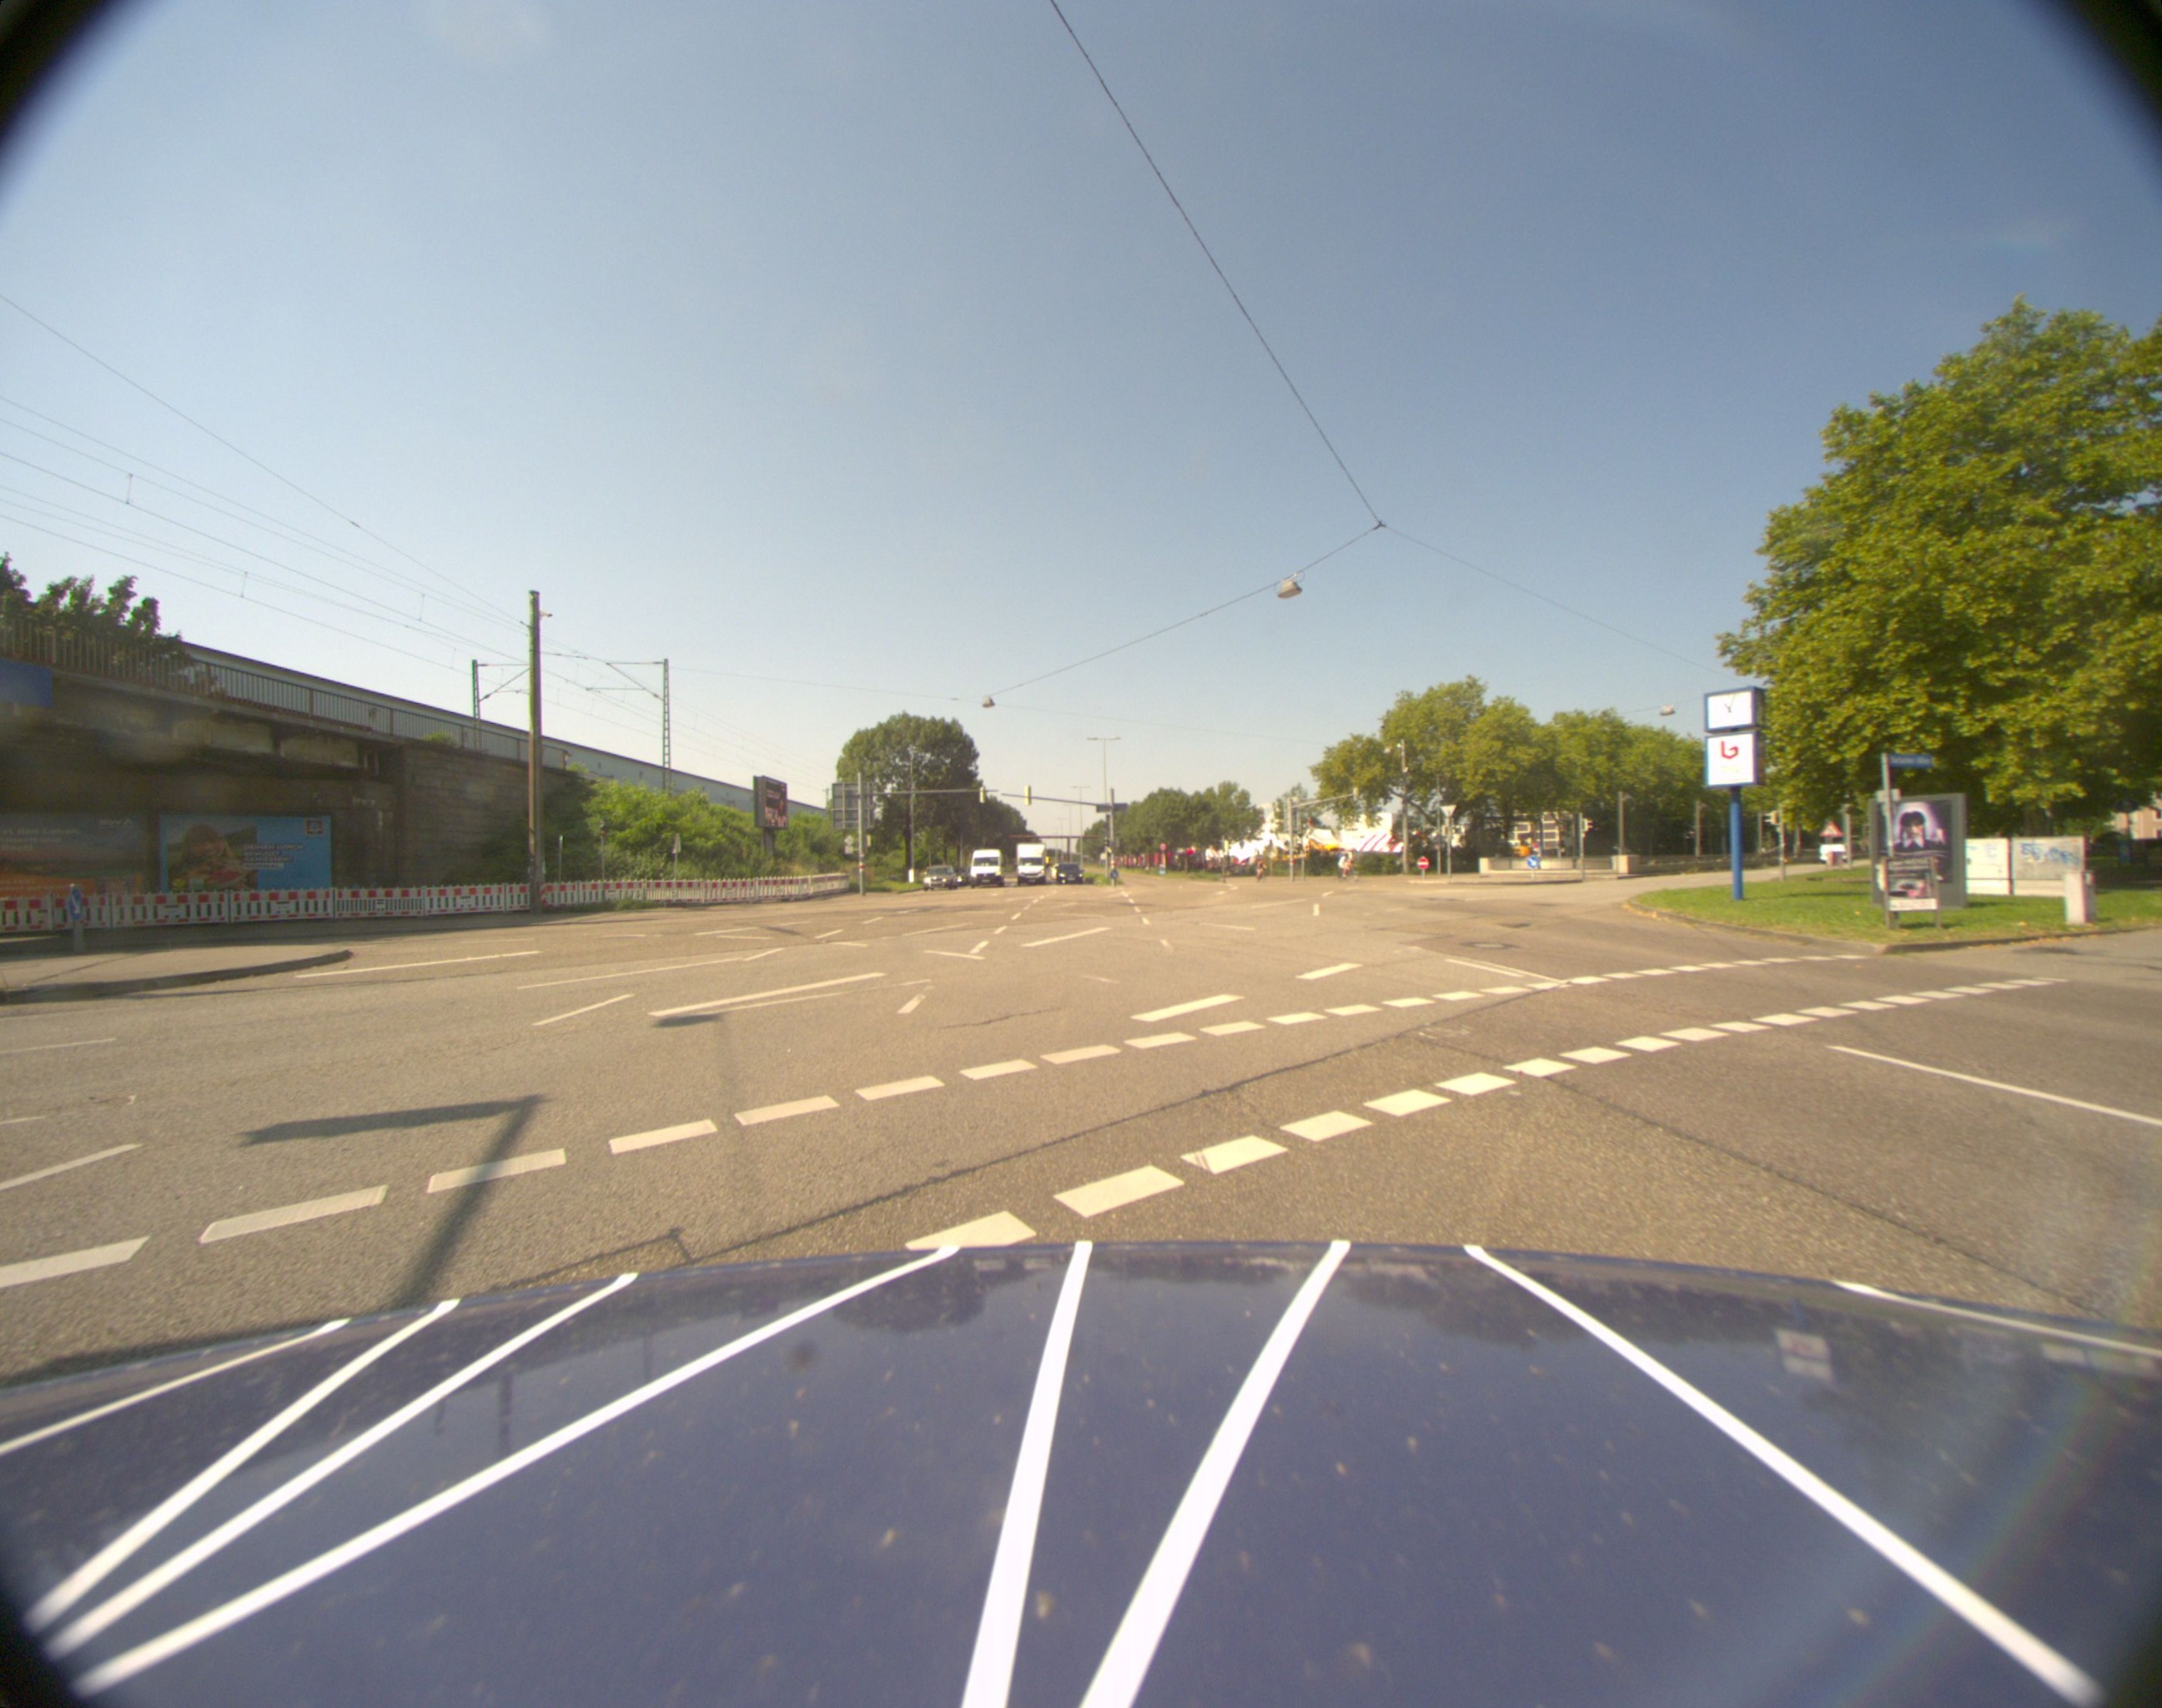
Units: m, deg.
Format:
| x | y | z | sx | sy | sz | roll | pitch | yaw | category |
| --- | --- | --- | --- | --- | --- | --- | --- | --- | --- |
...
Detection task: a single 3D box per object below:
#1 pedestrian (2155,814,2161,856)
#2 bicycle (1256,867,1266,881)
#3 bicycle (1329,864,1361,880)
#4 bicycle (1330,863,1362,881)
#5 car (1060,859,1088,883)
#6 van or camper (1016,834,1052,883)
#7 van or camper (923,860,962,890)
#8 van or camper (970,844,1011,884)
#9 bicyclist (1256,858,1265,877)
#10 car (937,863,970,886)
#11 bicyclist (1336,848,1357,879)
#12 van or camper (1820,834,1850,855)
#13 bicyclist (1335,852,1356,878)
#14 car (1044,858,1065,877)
| x | y | z | sx | sy | sz | roll | pitch | yaw | category |
| --- | --- | --- | --- | --- | --- | --- | --- | --- | --- |
| 52.095 | -0.936 | 36.171 | 1.351 | 2.001 | 0.947 | -1 | -2 | -37 | pedestrian |
| 13.262 | 1.472 | 55.874 | 0.572 | 1.049 | 1.496 | -3 | -2 | 18 | bicycle |
| 17.778 | 1.234 | 51.188 | 0.773 | 1.080 | 2.259 | 1 | -2 | -21 | bicycle |
| 16.874 | 1.151 | 48.400 | 0.773 | 1.081 | 2.218 | -2 | -2 | -14 | bicycle |
| -0.558 | 1.357 | 57.629 | 1.905 | 1.603 | 5.197 | -3 | -2 | -1 | car |
| -3.438 | 0.437 | 56.745 | 2.248 | 3.341 | 6.853 | -3 | -2 | -1 | van or camper |
| -8.902 | 1.414 | 49.136 | 1.851 | 1.765 | 4.175 | -3 | -2 | -3 | van or camper |
| -6.130 | 0.787 | 52.457 | 2.248 | 2.467 | 6.867 | -3 | -2 | -3 | van or camper |
| 13.219 | 1.003 | 55.853 | 0.502 | 1.356 | 0.698 | -4 | -2 | 19 | bicyclist |
| -9.311 | 1.476 | 55.630 | 1.999 | 1.543 | 3.998 | -3 | 0 | -5 | car |
| 17.808 | 0.646 | 51.041 | 0.598 | 2.001 | 1.203 | -2 | -2 | -19 | bicyclist |
| 74.816 | -1.012 | 75.369 | 4.957 | 1.936 | 1.841 | -3 | 3 | -43 | van or camper |
| 16.857 | 0.738 | 48.441 | 0.598 | 1.584 | 1.204 | -2 | -2 | -15 | bicyclist |
| -2.456 | 1.329 | 72.167 | 1.655 | 1.654 | 3.757 | -3 | -2 | 2 | car |
